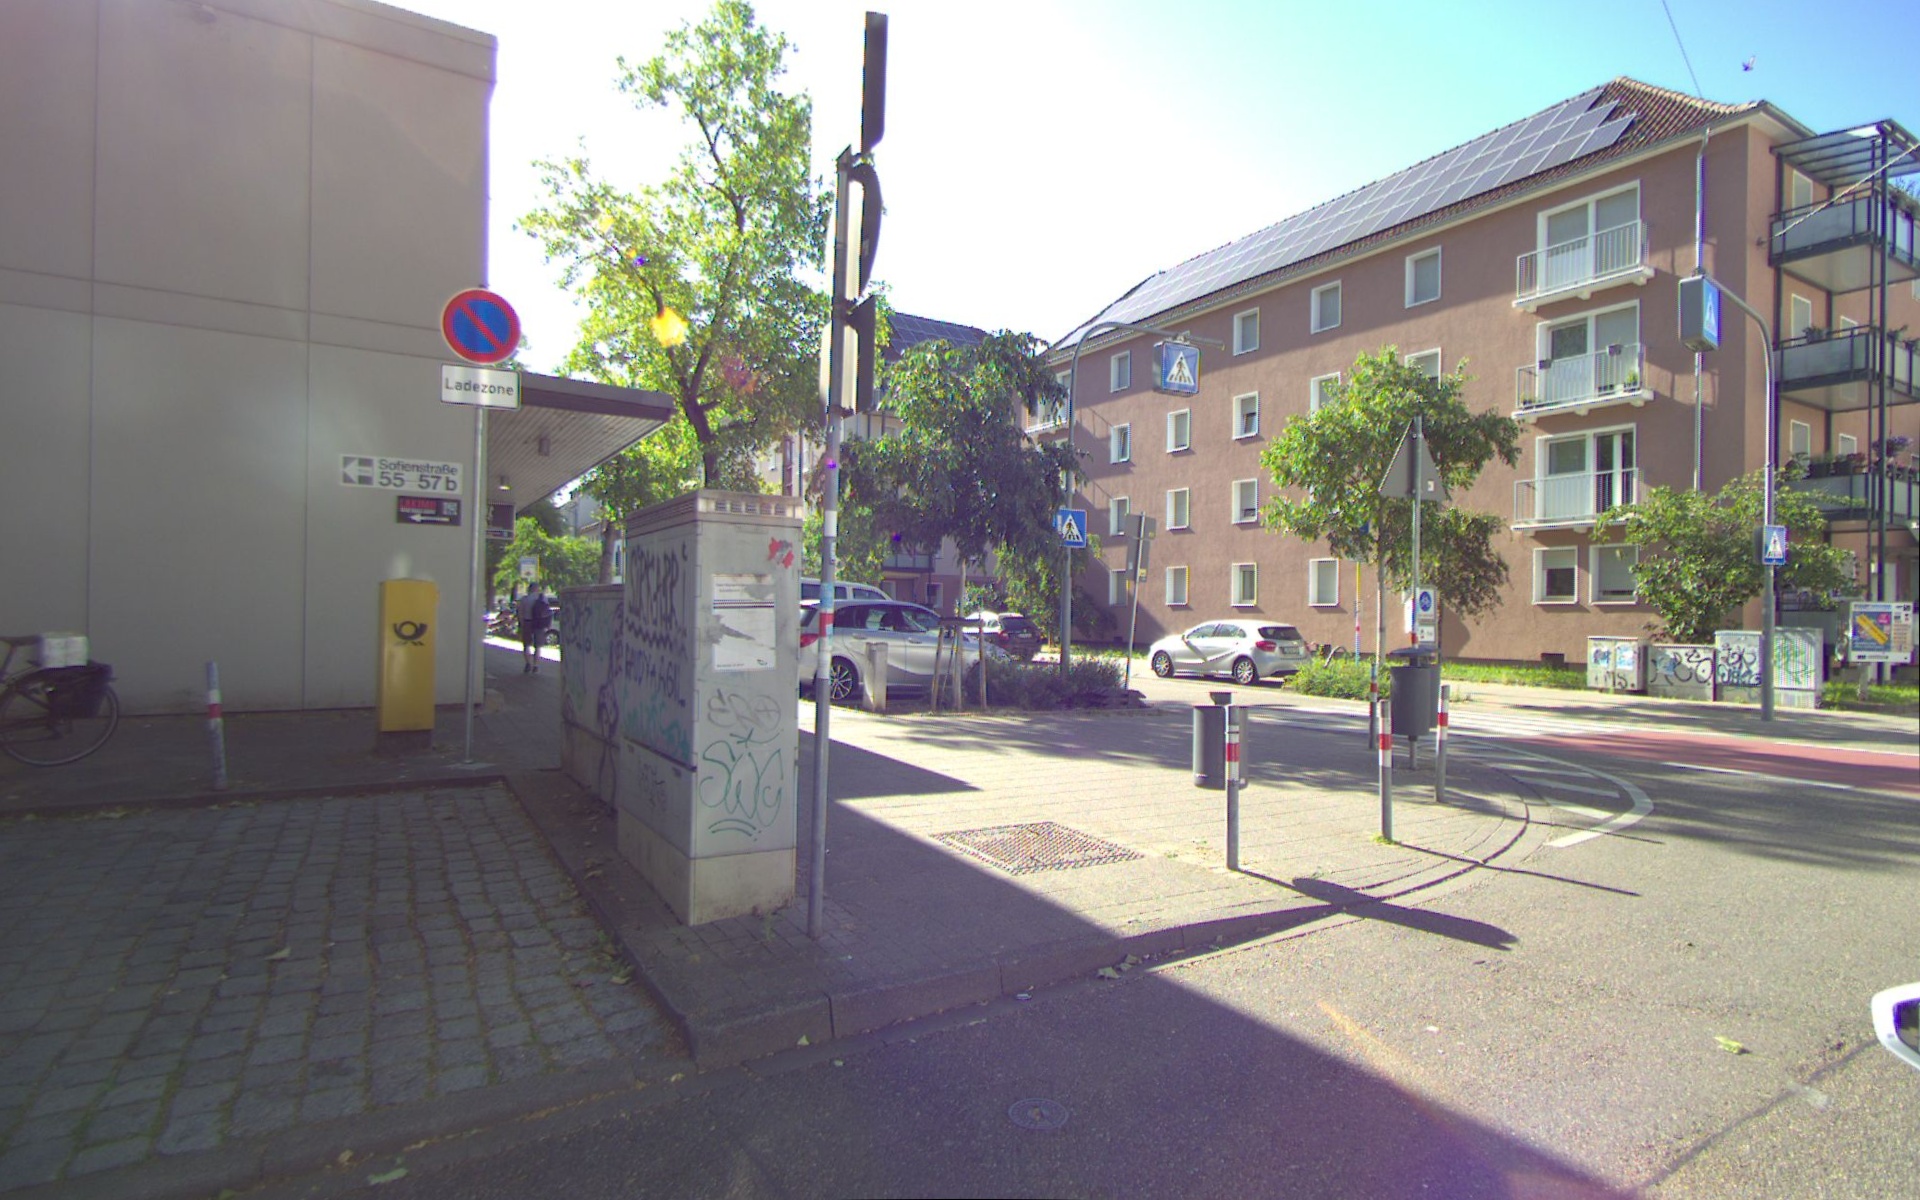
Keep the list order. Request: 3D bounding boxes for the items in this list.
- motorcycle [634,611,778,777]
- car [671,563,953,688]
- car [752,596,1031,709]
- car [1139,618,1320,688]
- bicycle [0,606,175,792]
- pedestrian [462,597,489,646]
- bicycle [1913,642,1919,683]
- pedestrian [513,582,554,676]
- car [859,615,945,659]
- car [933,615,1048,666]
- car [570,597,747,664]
[{"bbox_3d":[-2.214,0.723,8.566,0.662,1.196,1.906,1,1,-30],"label":"motorcycle"},{"bbox_3d":[-2.648,0.537,18.430,4.695,2.032,1.942,3,-2,-33],"label":"car"},{"bbox_3d":[-1.063,0.817,16.411,4.257,1.634,1.743,1,-1,-32],"label":"car"},{"bbox_3d":[6.245,1.183,23.733,1.726,1.473,4.121,1,-1,-31],"label":"car"},{"bbox_3d":[-6.474,0.639,6.748,0.790,1.168,1.715,2,1,27],"label":"bicycle"},{"bbox_3d":[-15.533,0.690,32.191,0.681,1.542,0.528,3,-1,-29],"label":"pedestrian"},{"bbox_3d":[24.997,1.612,25.679,0.285,1.049,1.217,1,-1,9],"label":"bicycle"},{"bbox_3d":[-7.895,0.540,18.578,0.560,1.688,0.707,3,-1,-29],"label":"pedestrian"},{"bbox_3d":[-2.245,1.365,37.906,1.725,1.539,3.827,1,-1,-30],"label":"car"},{"bbox_3d":[0.916,1.267,32.643,1.768,1.539,4.274,1,-1,-30],"label":"car"},{"bbox_3d":[-8.691,0.897,29.118,4.591,1.828,1.821,2,-1,-32],"label":"car"}]
